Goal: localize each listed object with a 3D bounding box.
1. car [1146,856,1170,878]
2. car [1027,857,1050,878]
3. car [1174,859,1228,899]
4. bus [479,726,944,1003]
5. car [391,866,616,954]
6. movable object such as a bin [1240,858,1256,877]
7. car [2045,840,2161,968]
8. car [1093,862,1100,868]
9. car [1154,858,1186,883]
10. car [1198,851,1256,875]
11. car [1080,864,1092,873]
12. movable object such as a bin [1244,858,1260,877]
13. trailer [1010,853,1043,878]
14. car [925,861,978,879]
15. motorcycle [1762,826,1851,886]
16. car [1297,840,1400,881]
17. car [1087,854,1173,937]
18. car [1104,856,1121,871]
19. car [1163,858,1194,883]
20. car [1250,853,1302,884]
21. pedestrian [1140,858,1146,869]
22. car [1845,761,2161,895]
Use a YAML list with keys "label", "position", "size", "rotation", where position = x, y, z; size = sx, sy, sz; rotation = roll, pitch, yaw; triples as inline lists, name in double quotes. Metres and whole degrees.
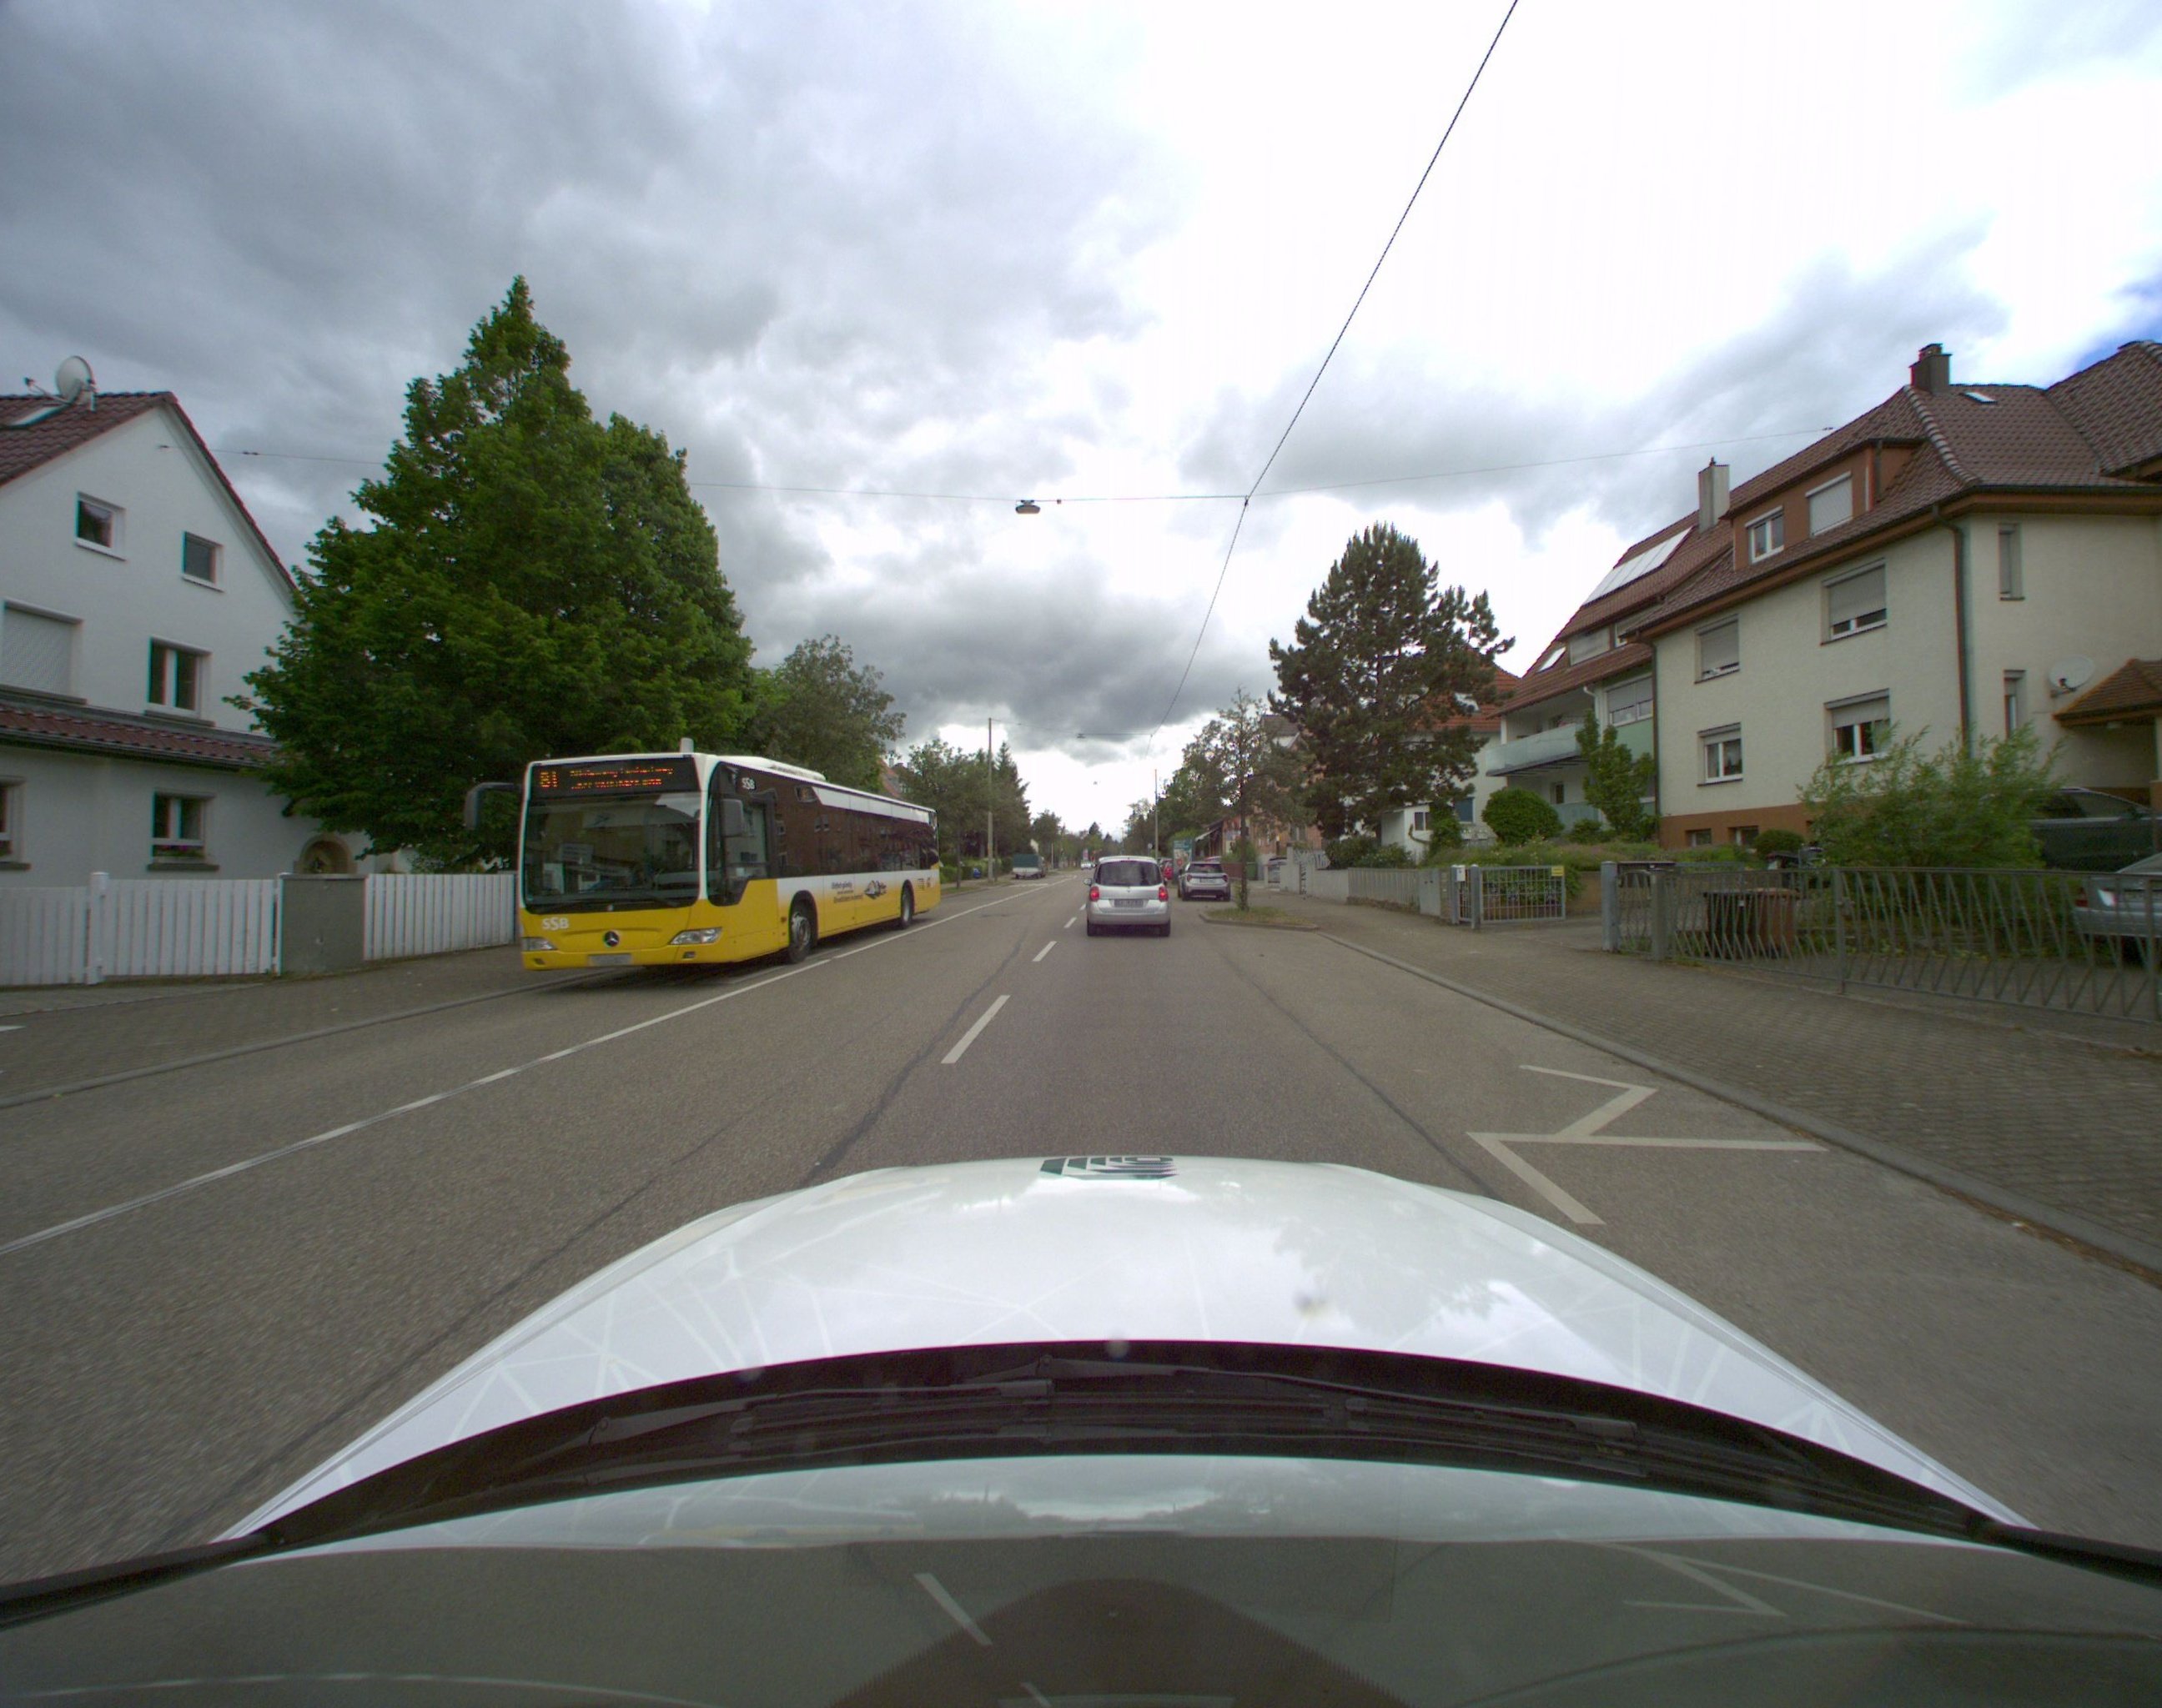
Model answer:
- label: "car"
  position: [6.565, 1.107, 69.768]
  size: [1.806, 1.743, 4.001]
  rotation: [-2, -1, 2]
- label: "car"
  position: [-3.972, 1.314, 76.961]
  size: [1.881, 1.922, 4.562]
  rotation: [0, -1, 1]
- label: "car"
  position: [4.435, 0.910, 30.607]
  size: [1.643, 1.382, 4.003]
  rotation: [-1, -1, 3]
- label: "bus"
  position: [-5.318, 0.150, 15.473]
  size: [2.621, 3.086, 12.079]
  rotation: [-3, 0, 3]
- label: "car"
  position: [-12.811, 1.146, 18.523]
  size: [1.801, 1.564, 4.616]
  rotation: [-3, 0, -1]
- label: "movable object such as a bin"
  position: [10.011, 0.791, 48.894]
  size: [0.773, 1.104, 0.691]
  rotation: [-2, 0, 1]
- label: "car"
  position: [13.844, 0.490, 9.161]
  size: [3.973, 1.393, 1.646]
  rotation: [-2, -1, 1]
- label: "car"
  position: [3.743, 2.728, 198.457]
  size: [1.717, 1.411, 3.998]
  rotation: [0, -1, -1]
- label: "car"
  position: [5.820, 1.055, 53.752]
  size: [1.657, 1.564, 4.098]
  rotation: [-1, 0, 0]
- label: "car"
  position: [11.292, 0.695, 63.111]
  size: [3.982, 1.496, 1.806]
  rotation: [-4, -1, -6]
- label: "car"
  position: [0.939, 2.704, 153.306]
  size: [1.901, 1.618, 3.996]
  rotation: [-1, -1, -2]
- label: "movable object such as a bin"
  position: [9.934, 0.795, 47.398]
  size: [0.773, 1.104, 0.691]
  rotation: [-2, 0, 1]
- label: "trailer"
  position: [-4.623, 1.005, 70.052]
  size: [2.304, 2.087, 5.873]
  rotation: [0, -1, 1]
- label: "car"
  position: [-10.069, 1.276, 63.406]
  size: [3.984, 1.338, 1.573]
  rotation: [0, -2, -8]
- label: "motorcycle"
  position: [14.620, 0.040, 16.424]
  size: [1.221, 1.046, 0.584]
  rotation: [-7, -2, -9]
- label: "car"
  position: [12.735, 0.307, 38.851]
  size: [4.254, 1.506, 1.692]
  rotation: [-5, -2, -5]
- label: "car"
  position: [1.073, 0.827, 17.402]
  size: [1.623, 1.557, 4.004]
  rotation: [0, -1, 4]
- label: "car"
  position: [3.561, 1.063, 92.427]
  size: [1.822, 1.675, 3.576]
  rotation: [-1, -1, 3]
- label: "car"
  position: [5.877, 0.948, 49.284]
  size: [1.655, 1.393, 3.672]
  rotation: [-2, 0, 5]
- label: "car"
  position: [10.781, 0.765, 44.880]
  size: [1.802, 1.380, 4.506]
  rotation: [-6, -1, 25]
- label: "pedestrian"
  position: [9.020, 1.382, 118.420]
  size: [0.703, 1.647, 0.774]
  rotation: [-2, -1, 2]
- label: "car"
  position: [15.652, -0.413, 13.559]
  size: [3.977, 1.703, 1.884]
  rotation: [-7, -3, -2]
